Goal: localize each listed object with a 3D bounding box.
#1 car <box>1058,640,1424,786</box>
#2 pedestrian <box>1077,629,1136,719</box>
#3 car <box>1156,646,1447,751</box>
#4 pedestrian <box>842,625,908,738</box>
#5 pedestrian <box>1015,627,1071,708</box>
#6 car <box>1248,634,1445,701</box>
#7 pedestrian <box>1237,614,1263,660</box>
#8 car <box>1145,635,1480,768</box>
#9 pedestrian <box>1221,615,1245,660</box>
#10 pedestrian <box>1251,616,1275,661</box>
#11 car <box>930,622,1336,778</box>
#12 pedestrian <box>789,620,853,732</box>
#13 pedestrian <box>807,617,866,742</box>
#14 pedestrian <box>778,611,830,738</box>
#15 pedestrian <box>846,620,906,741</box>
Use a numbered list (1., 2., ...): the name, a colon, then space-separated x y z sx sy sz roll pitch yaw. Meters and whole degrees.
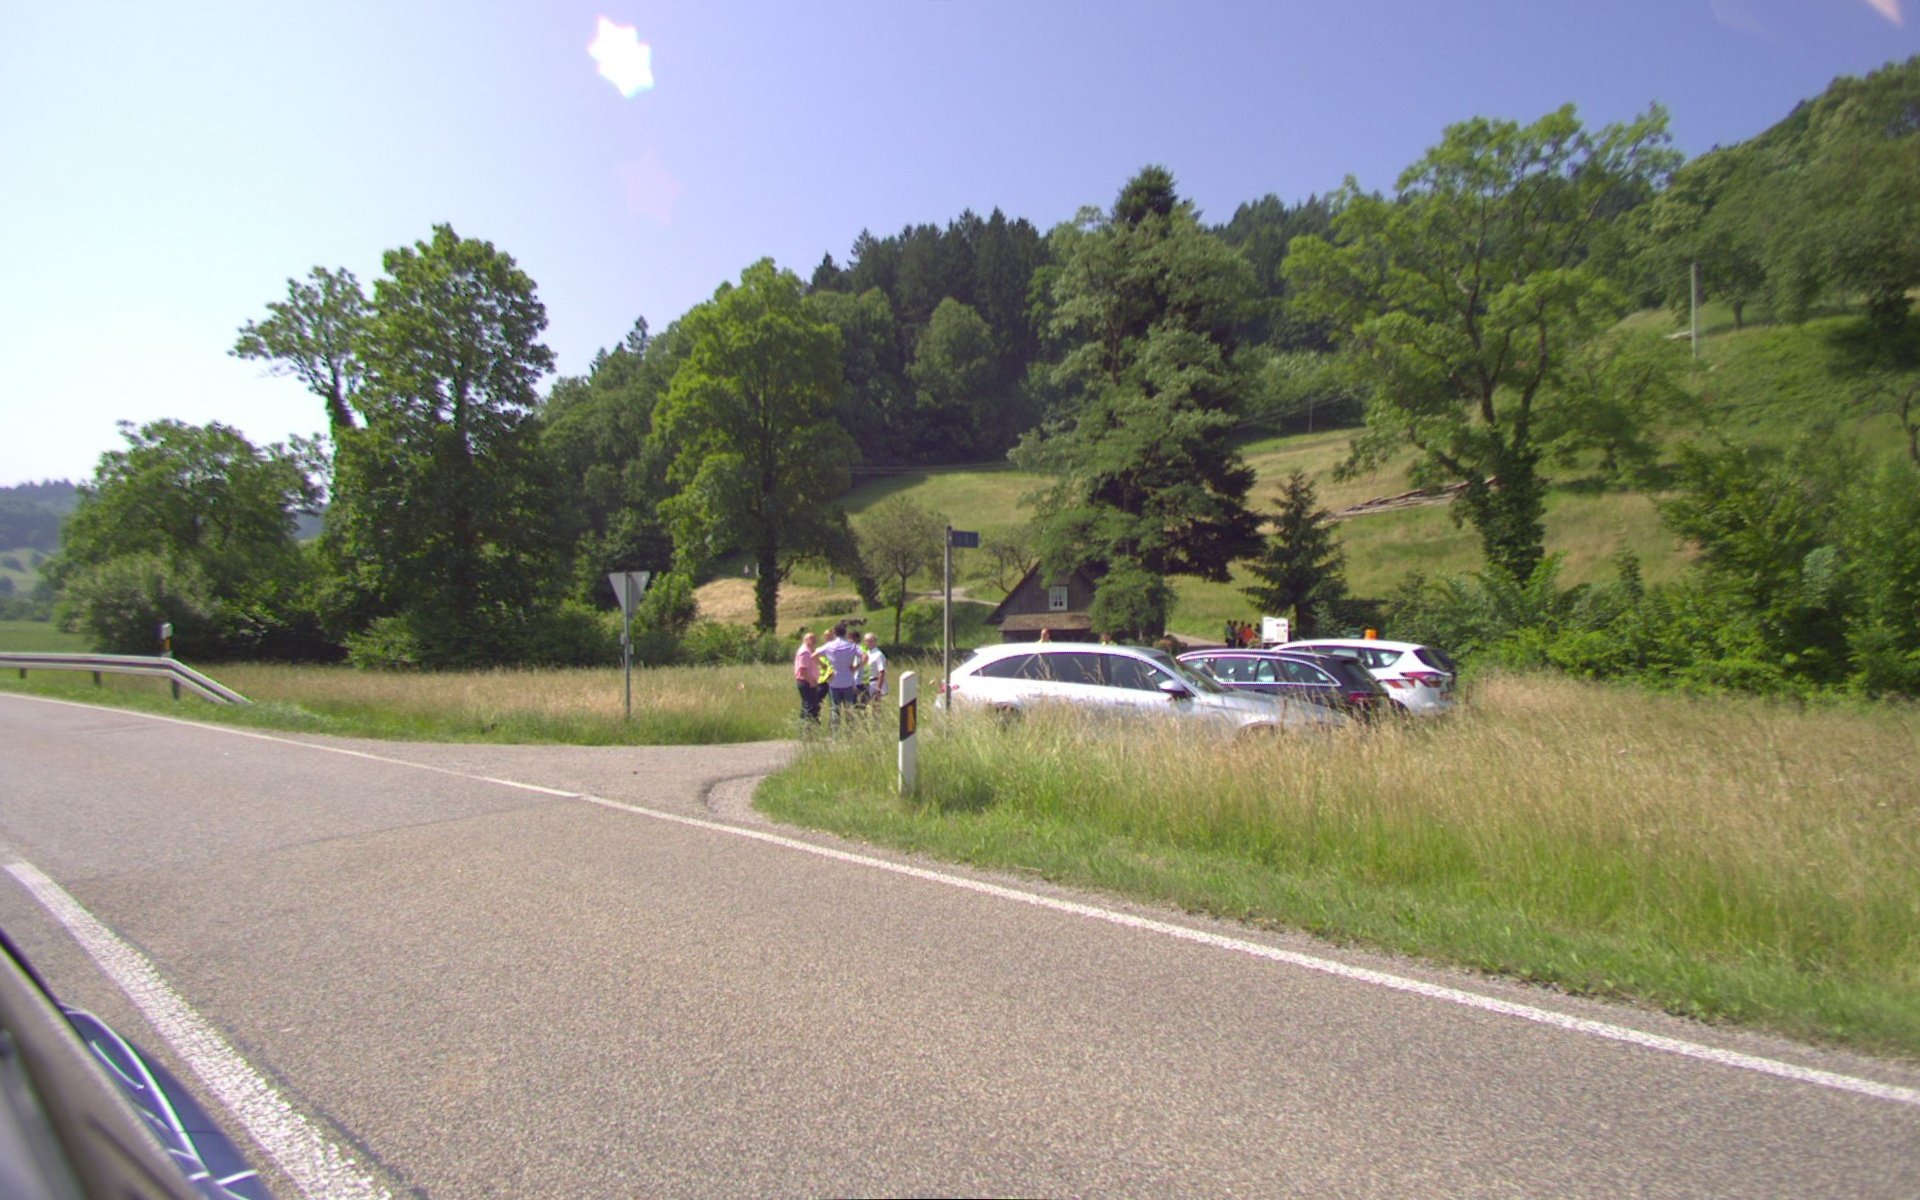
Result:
1. car: 3.878 1.471 14.361 4.615 1.664 1.974 -1 -4 38
2. pedestrian: 3.339 1.677 23.023 0.861 1.984 1.115 -1 -4 39
3. car: 6.336 1.754 18.923 4.881 1.654 1.980 0 -4 30
4. pedestrian: -1.419 1.339 16.824 0.758 1.810 0.796 4 -4 -34
5. pedestrian: 1.898 1.529 23.091 0.995 1.808 0.948 -1 -4 27
6. car: 9.830 1.684 25.769 4.499 1.512 1.981 0 -4 28
7. pedestrian: 12.923 1.655 45.169 0.689 2.029 0.935 2 -3 -18
8. car: 5.539 1.485 16.149 4.757 1.796 1.856 -1 -3 33
9. pedestrian: 12.438 1.716 46.109 0.929 2.029 0.694 0 -3 30
10. pedestrian: 13.904 1.781 46.431 0.927 2.029 0.695 0 -3 25
11. car: 1.946 1.136 11.679 4.258 1.512 1.814 -2 -7 29
12. pedestrian: -2.368 1.284 17.233 0.698 1.856 0.780 -2 -5 40
13. pedestrian: -1.916 1.219 15.672 0.638 1.873 0.773 3 -4 -27
14. pedestrian: -2.480 1.173 16.112 0.529 1.970 0.658 0 -4 19
15. pedestrian: -1.336 1.259 16.002 0.638 1.854 0.773 3 -4 -27
